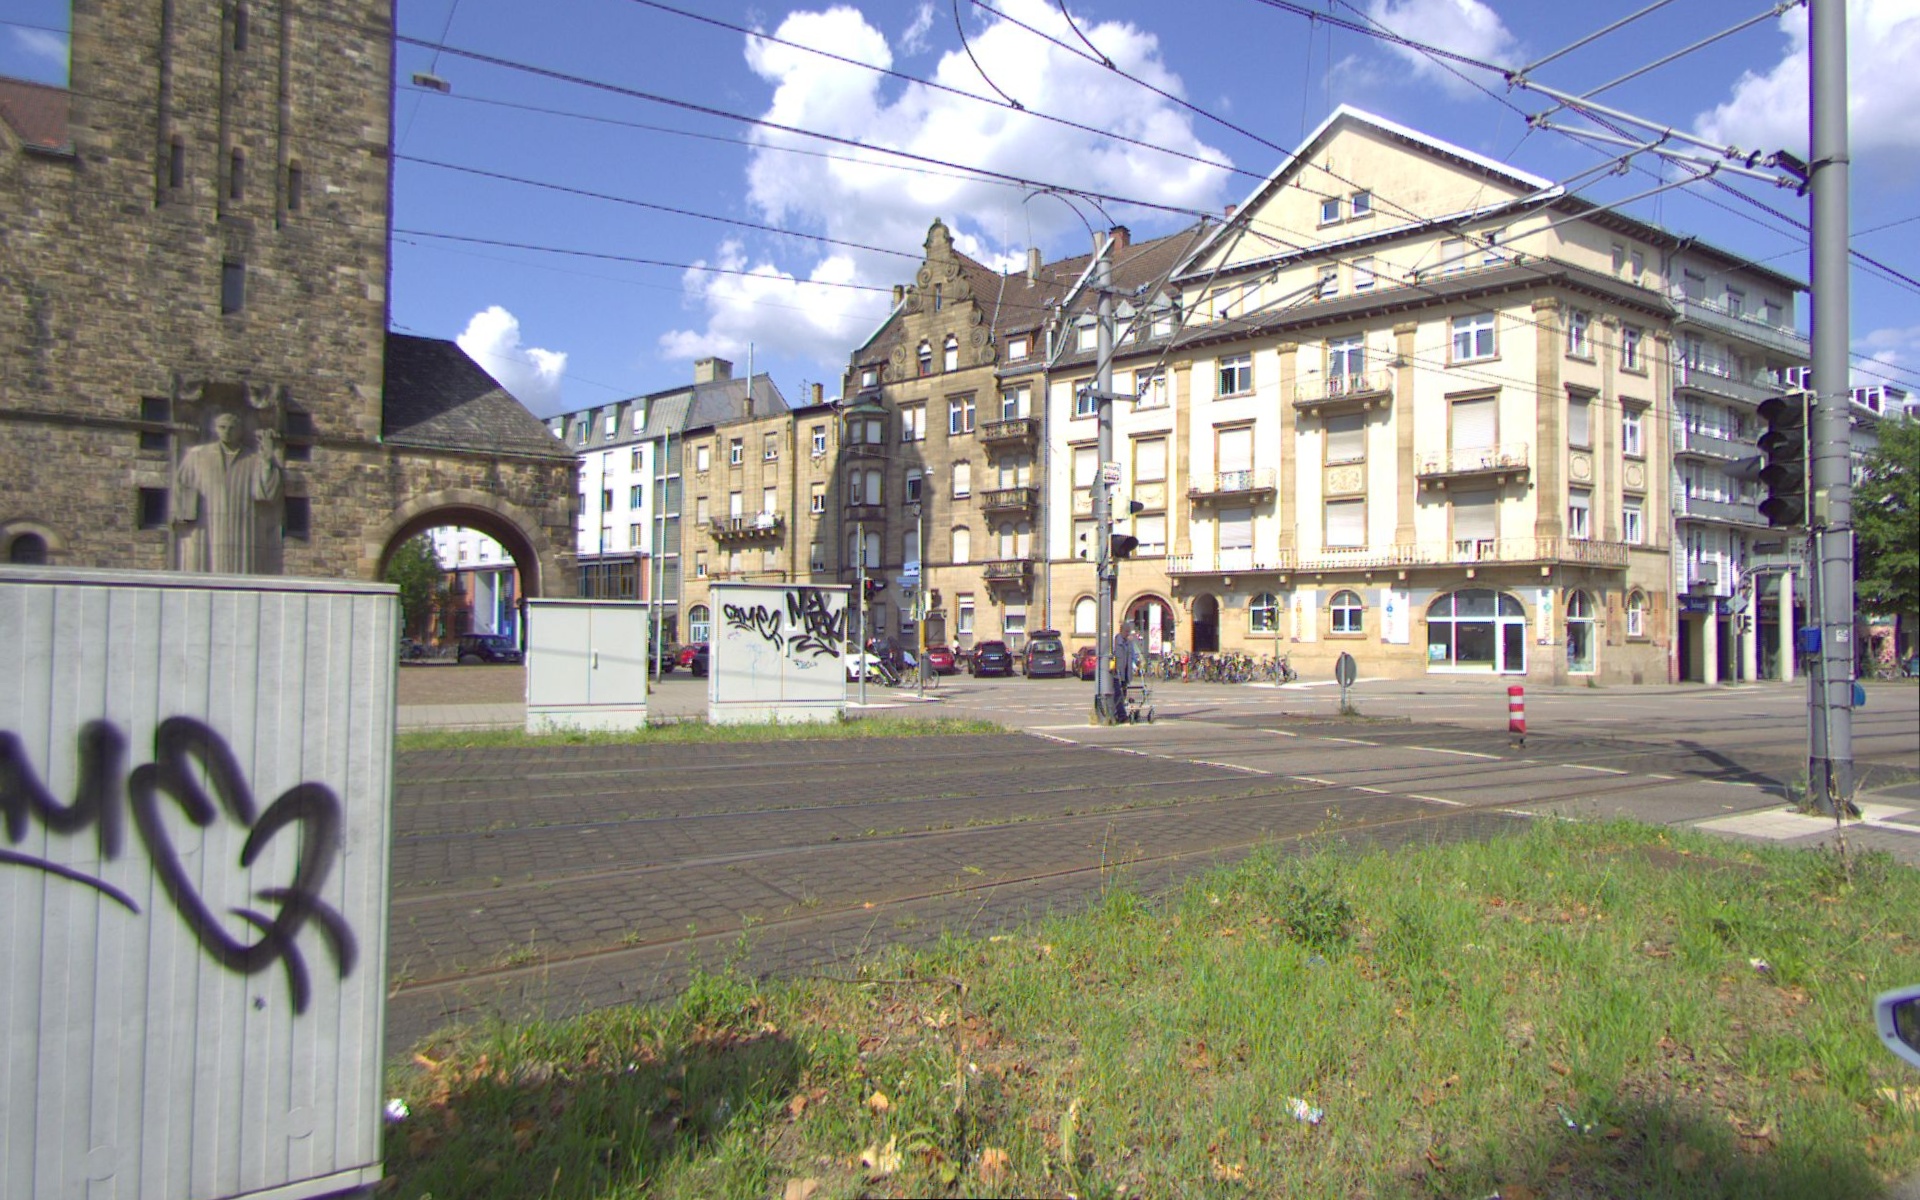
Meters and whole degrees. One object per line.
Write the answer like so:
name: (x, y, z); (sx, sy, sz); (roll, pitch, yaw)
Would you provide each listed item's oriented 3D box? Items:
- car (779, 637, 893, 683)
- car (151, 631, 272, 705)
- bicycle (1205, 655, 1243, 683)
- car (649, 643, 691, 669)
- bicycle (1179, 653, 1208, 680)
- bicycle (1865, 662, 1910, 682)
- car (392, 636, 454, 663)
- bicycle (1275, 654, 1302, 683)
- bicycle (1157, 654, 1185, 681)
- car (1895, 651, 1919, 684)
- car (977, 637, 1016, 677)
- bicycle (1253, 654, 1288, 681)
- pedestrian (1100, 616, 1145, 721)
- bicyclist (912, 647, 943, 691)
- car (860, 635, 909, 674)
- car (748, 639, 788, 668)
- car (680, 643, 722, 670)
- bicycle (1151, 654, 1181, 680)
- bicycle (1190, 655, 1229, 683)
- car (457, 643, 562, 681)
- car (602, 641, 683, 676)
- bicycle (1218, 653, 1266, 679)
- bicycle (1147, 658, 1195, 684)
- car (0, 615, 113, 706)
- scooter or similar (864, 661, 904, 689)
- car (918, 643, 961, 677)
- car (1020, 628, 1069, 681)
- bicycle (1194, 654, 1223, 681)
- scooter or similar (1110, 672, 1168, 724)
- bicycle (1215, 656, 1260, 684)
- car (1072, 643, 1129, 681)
car: (-5.096, 2.417, 40.973); (4.587, 1.762, 1.809); (-1, -3, 35)
car: (-17.296, 1.548, 23.388); (1.777, 1.567, 3.749); (2, -3, -30)
bicycle: (10.899, 2.850, 41.440); (1.913, 1.032, 0.534); (0, -1, -41)
car: (-17.896, 3.426, 62.157); (1.574, 1.415, 3.573); (-1, 0, 0)
bicycle: (10.089, 2.872, 43.425); (0.531, 1.032, 1.922); (-1, 0, 35)
bicycle: (48.733, 3.774, 52.789); (0.492, 0.999, 1.680); (2, -3, -31)
car: (-33.910, 3.116, 63.399); (4.005, 1.617, 1.790); (-1, -3, 35)
bicycle: (13.366, 2.769, 40.826); (0.599, 1.032, 1.872); (-1, -1, 32)
bicycle: (8.986, 2.857, 42.758); (0.531, 1.032, 1.924); (-1, 0, 31)
car: (54.927, 3.825, 56.880); (3.953, 1.813, 1.838); (2, 0, -30)
car: (1.706, 2.679, 48.194); (1.677, 1.690, 4.000); (-1, 0, 0)
bicycle: (12.785, 2.762, 41.344); (0.602, 1.032, 1.865); (-1, -1, 44)
pedestrian: (2.780, 1.170, 17.192); (0.551, 1.755, 0.523); (2, -3, -34)
bicyclist: (-1.160, 2.447, 35.612); (0.906, 1.523, 0.651); (-1, -2, 32)
car: (-3.905, 2.802, 52.325); (1.878, 1.849, 4.002); (-1, 0, 5)
car: (-10.942, 3.011, 57.385); (1.574, 1.475, 3.776); (-1, 0, 0)
car: (-15.647, 3.396, 60.850); (1.574, 1.415, 3.573); (-1, 0, 0)
bicycle: (9.005, 2.913, 43.844); (0.531, 1.032, 1.922); (-1, 0, 35)
bicycle: (10.371, 2.844, 41.713); (1.913, 1.032, 0.534); (-1, 0, -41)
car: (-20.865, 2.860, 46.651); (3.892, 1.674, 2.034); (0, -2, 3)
car: (-15.494, 2.812, 48.967); (4.005, 1.617, 1.698); (-1, -3, 35)
bicycle: (11.968, 2.811, 42.724); (1.899, 1.032, 0.538); (-1, 0, 40)
bicycle: (8.642, 2.907, 41.159); (1.891, 1.032, 0.540); (-1, 0, 20)
car: (-20.425, 1.310, 22.265); (1.842, 1.847, 3.982); (2, -3, -31)
scooter or similar: (-2.765, 2.708, 36.510); (1.111, 0.990, 0.889); (-1, -3, 32)
car: (-1.074, 2.950, 50.315); (1.880, 1.463, 3.997); (-1, 0, -5)
car: (3.873, 2.473, 46.711); (1.929, 2.111, 3.999); (-1, 2, 0)
bicycle: (10.654, 2.877, 43.045); (0.531, 1.032, 1.922); (-1, 0, 35)
scooter or similar: (2.994, 1.631, 16.832); (0.548, 0.814, 0.833); (2, -3, -33)
bicycle: (11.279, 2.812, 40.759); (1.853, 1.032, 0.598); (0, 0, -28)
car: (6.177, 2.734, 44.640); (1.929, 1.460, 4.000); (-1, -1, 0)
